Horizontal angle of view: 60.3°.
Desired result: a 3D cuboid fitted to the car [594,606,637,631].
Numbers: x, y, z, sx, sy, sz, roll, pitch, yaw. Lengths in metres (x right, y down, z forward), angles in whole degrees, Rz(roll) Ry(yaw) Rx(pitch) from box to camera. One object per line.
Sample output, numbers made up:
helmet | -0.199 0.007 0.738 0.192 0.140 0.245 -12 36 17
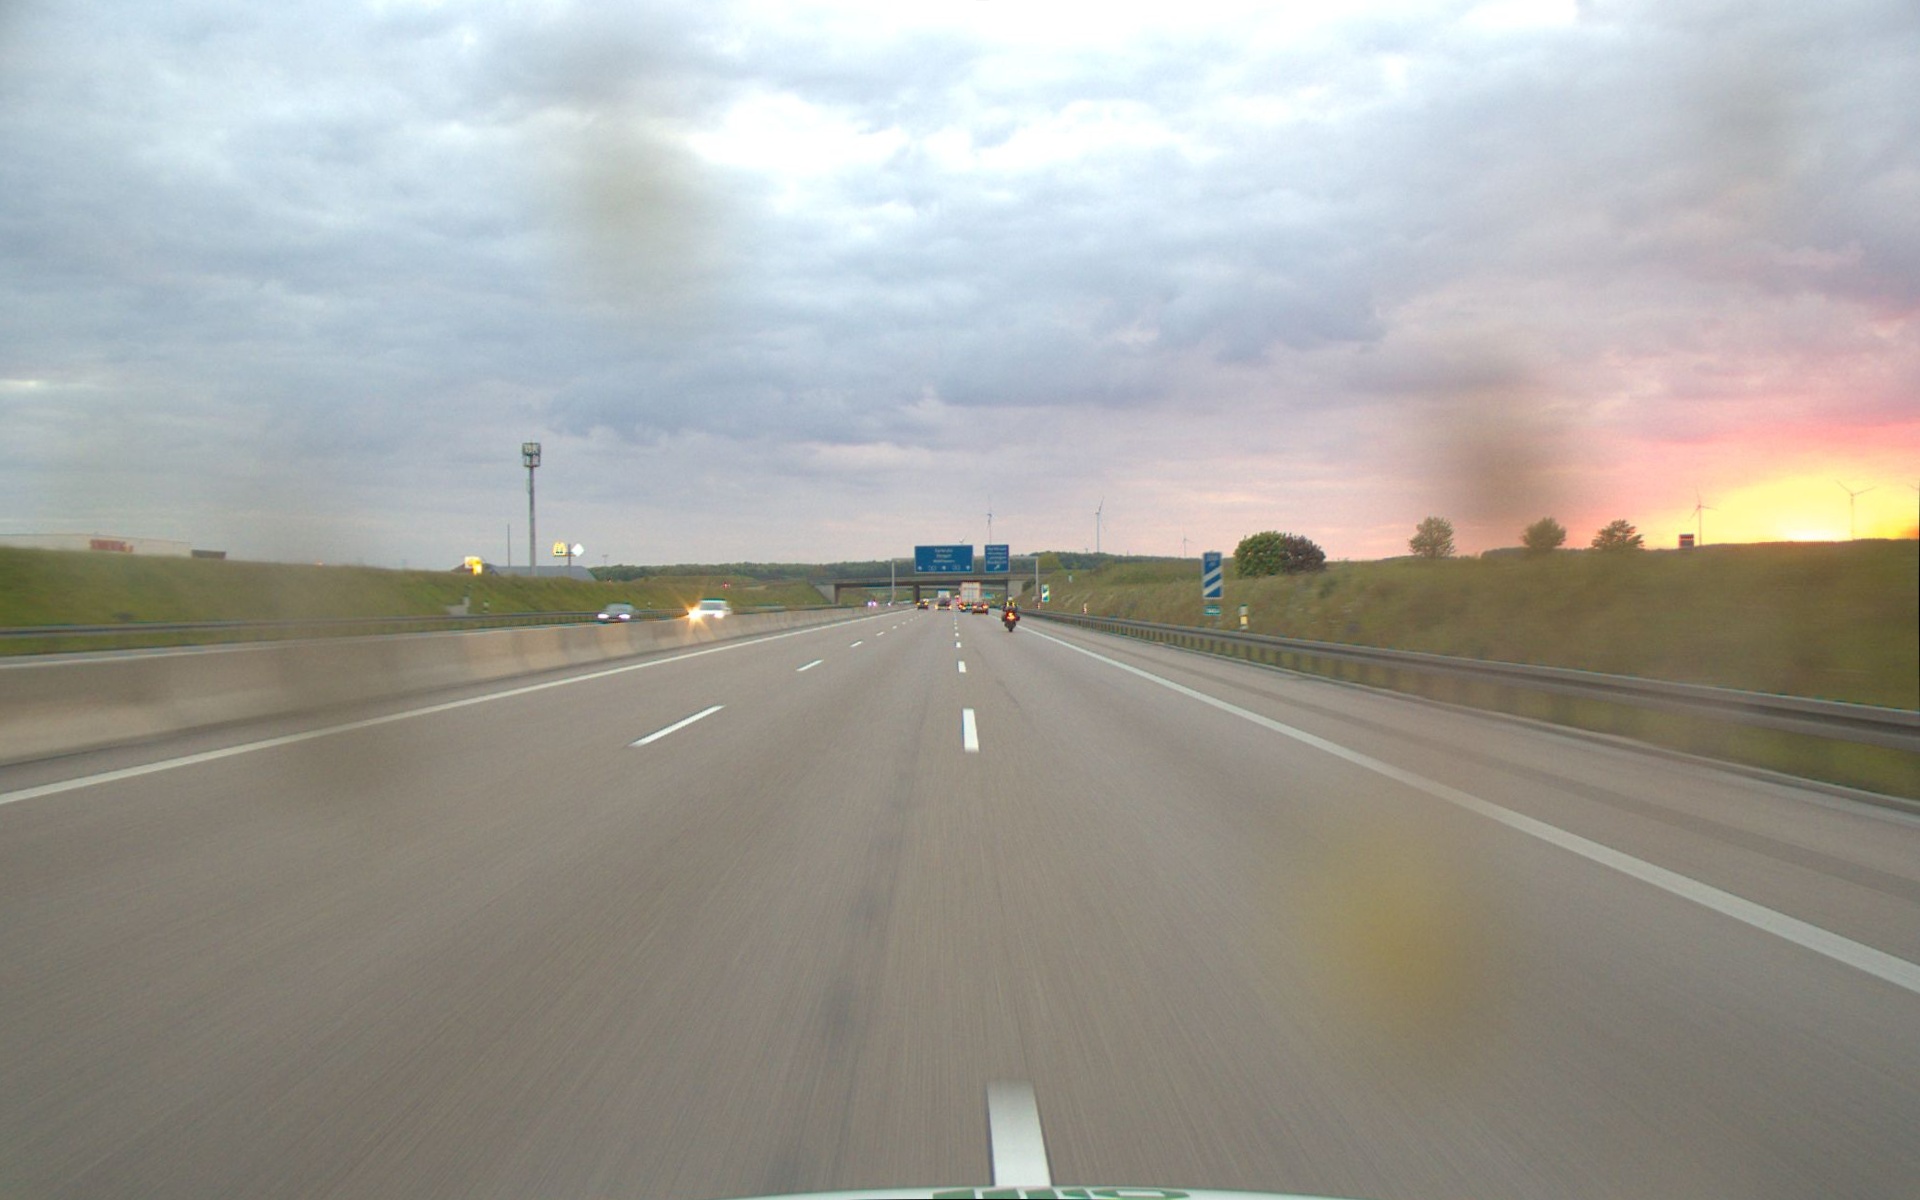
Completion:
car | -20.481 1.059 98.378 1.703 1.417 4.342 0 0 -1

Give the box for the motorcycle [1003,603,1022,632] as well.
motorcycle | 2.573 0.875 81.714 0.883 1.370 2.349 0 1 0

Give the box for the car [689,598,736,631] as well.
car | -13.678 0.796 91.721 1.953 1.766 5.181 0 0 -1

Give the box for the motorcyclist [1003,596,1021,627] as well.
motorcyclist | 2.566 0.553 81.524 0.848 1.513 1.168 1 0 1

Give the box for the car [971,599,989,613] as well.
car | 2.286 0.676 189.209 1.879 1.607 3.999 0 0 -1

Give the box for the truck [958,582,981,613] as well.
truck | 1.304 -0.368 231.985 3.167 4.301 9.598 1 0 0
